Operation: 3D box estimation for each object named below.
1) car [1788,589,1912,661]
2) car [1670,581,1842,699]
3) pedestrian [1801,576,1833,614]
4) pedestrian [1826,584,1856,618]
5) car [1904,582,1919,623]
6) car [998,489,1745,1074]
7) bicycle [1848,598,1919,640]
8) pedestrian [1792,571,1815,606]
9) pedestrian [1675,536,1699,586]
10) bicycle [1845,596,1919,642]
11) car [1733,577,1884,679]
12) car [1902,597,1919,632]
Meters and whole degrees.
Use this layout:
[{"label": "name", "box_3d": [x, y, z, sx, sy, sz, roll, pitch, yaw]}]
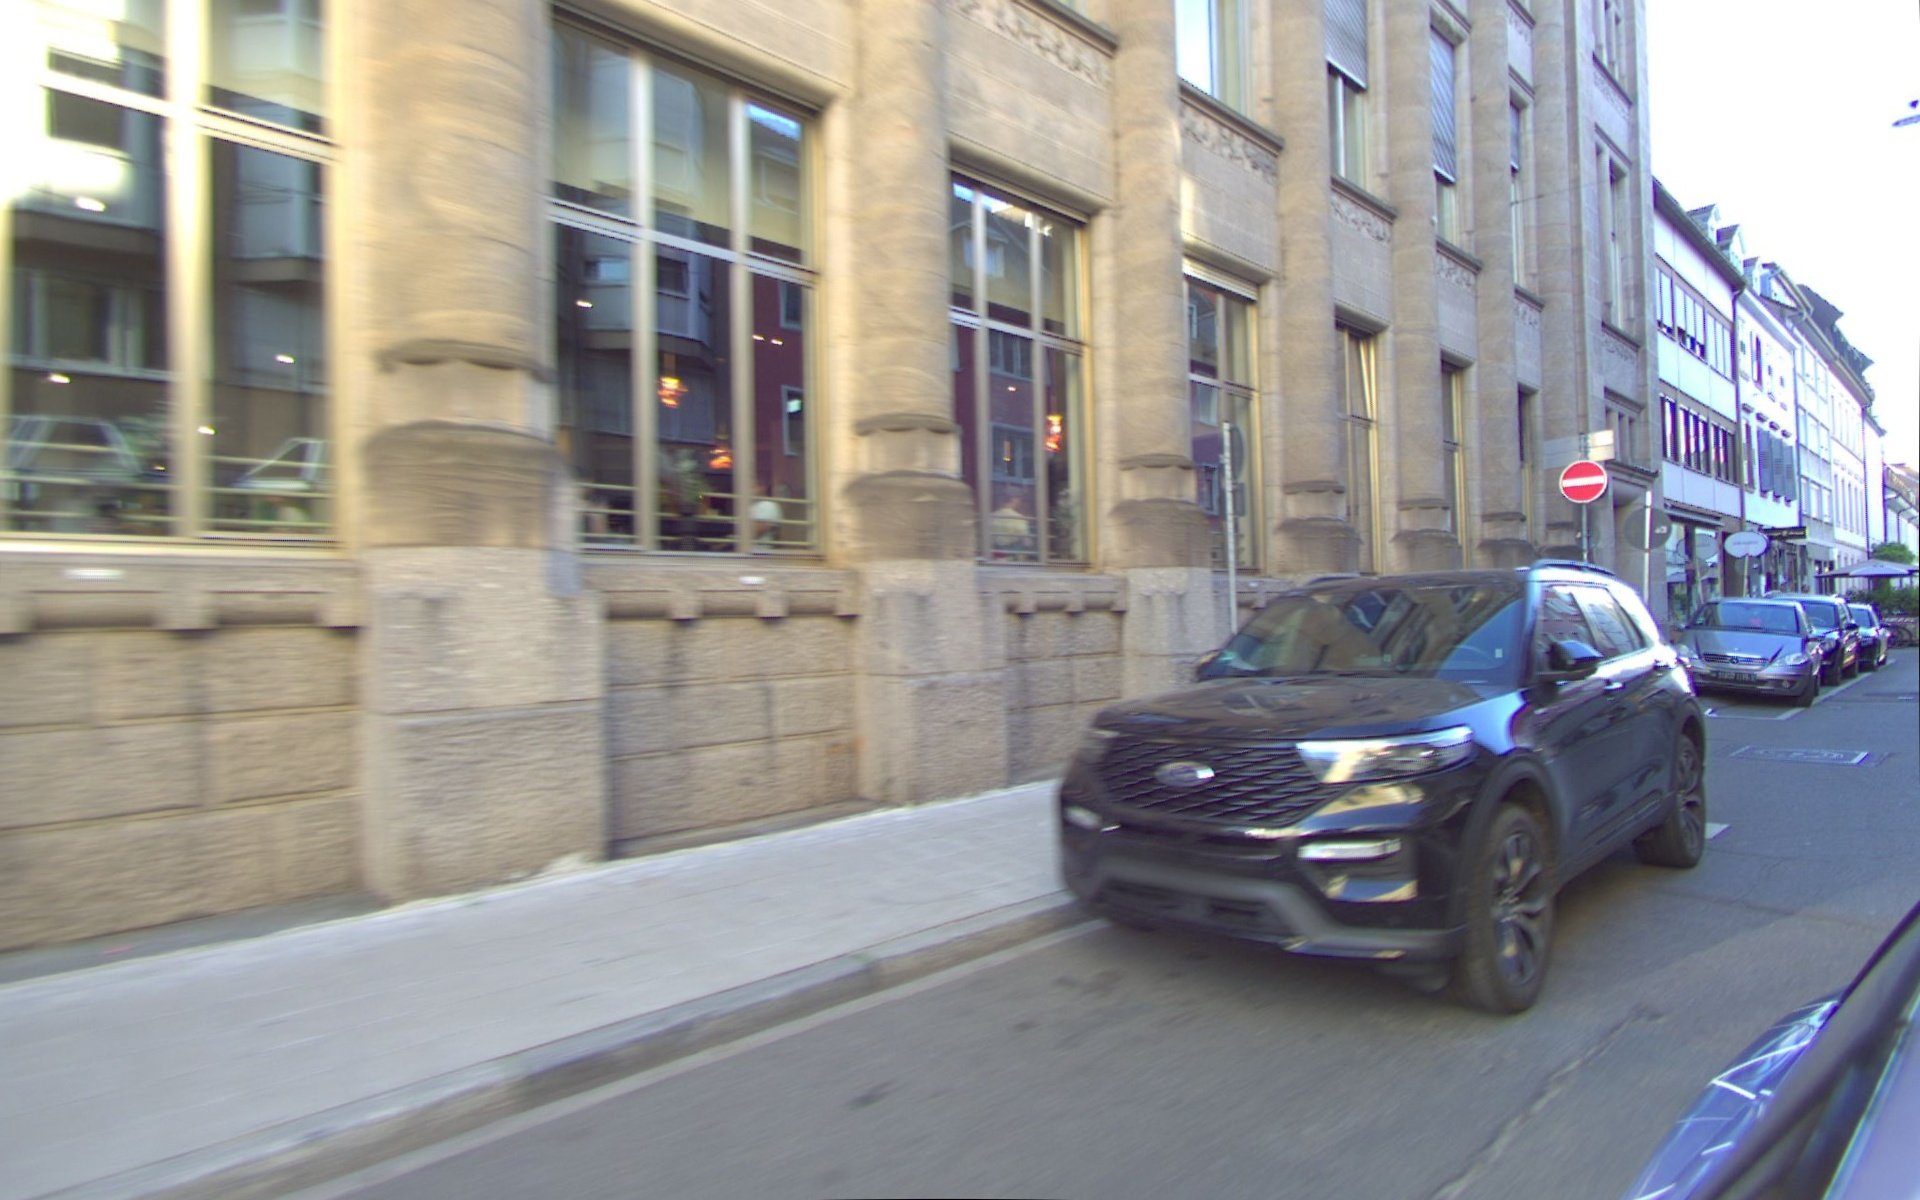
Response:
[{"label": "car", "box_3d": [21.126, 0.554, 23.959, 4.907, 1.536, 1.691, -1, -2, -43]}, {"label": "car", "box_3d": [13.036, 0.582, 16.495, 1.773, 1.687, 3.936, -3, -1, 44]}, {"label": "pedestrian", "box_3d": [28.945, -0.159, 34.190, 0.635, 1.259, 0.735, -1, -1, -43]}, {"label": "pedestrian", "box_3d": [33.987, 0.044, 39.060, 0.635, 1.259, 0.735, -1, -2, -41]}, {"label": "car", "box_3d": [45.620, 0.059, 47.229, 3.933, 1.869, 1.995, -1, -2, -43]}, {"label": "car", "box_3d": [2.613, 0.574, 5.566, 4.853, 1.806, 1.994, 0, -2, -44]}, {"label": "bicycle", "box_3d": [29.392, 0.586, 32.024, 0.586, 1.243, 1.872, 0, 2, -42]}, {"label": "pedestrian", "box_3d": [31.335, -0.428, 37.582, 0.599, 1.259, 0.566, -1, -1, -43]}, {"label": "pedestrian", "box_3d": [20.450, -1.097, 28.476, 0.436, 1.367, 0.417, -4, -2, 44]}, {"label": "bicycle", "box_3d": [28.902, 0.580, 31.564, 0.586, 1.319, 1.872, 0, 2, -42]}, {"label": "car", "box_3d": [16.971, 0.517, 20.181, 4.167, 1.830, 1.672, -1, -3, -42]}, {"label": "car", "box_3d": [38.875, 0.533, 40.138, 3.933, 1.313, 1.936, -1, -2, -43]}]
